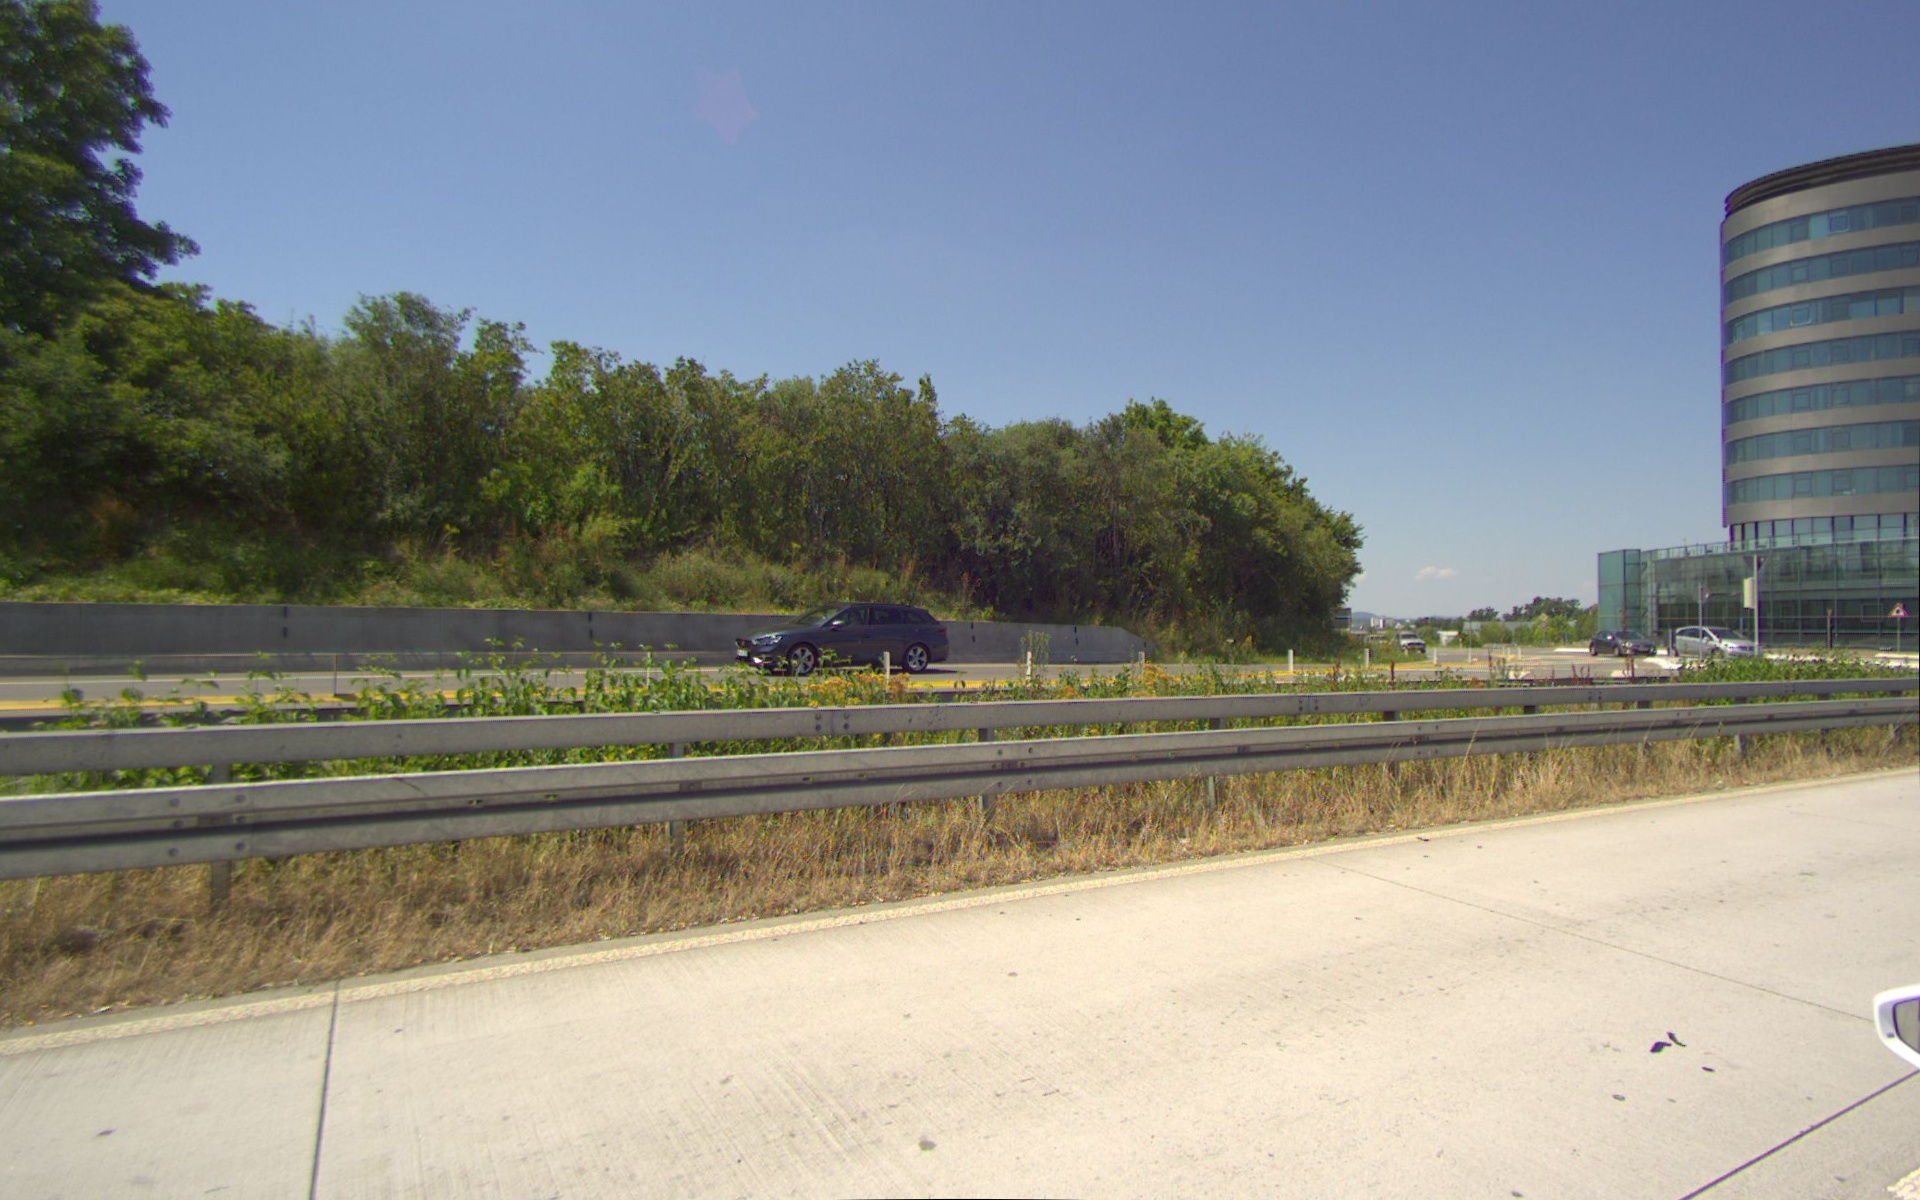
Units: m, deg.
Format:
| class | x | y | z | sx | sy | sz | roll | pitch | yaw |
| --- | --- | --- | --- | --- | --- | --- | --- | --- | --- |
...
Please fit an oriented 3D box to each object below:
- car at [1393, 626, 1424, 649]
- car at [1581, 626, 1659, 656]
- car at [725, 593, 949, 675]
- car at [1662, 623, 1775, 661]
| class | x | y | z | sx | sy | sz | roll | pitch | yaw |
| --- | --- | --- | --- | --- | --- | --- | --- | --- | --- |
| car | 37.223 | 3.095 | 83.460 | 1.961 | 1.796 | 4.857 | 1 | -1 | 21 |
| car | 35.136 | 2.194 | 53.634 | 1.663 | 1.475 | 4.333 | 2 | -2 | 6 |
| car | -2.457 | 0.700 | 20.552 | 4.253 | 1.504 | 1.699 | 2 | 0 | -36 |
| car | 34.502 | 1.914 | 45.836 | 1.742 | 1.616 | 4.329 | 2 | -2 | -2 |
